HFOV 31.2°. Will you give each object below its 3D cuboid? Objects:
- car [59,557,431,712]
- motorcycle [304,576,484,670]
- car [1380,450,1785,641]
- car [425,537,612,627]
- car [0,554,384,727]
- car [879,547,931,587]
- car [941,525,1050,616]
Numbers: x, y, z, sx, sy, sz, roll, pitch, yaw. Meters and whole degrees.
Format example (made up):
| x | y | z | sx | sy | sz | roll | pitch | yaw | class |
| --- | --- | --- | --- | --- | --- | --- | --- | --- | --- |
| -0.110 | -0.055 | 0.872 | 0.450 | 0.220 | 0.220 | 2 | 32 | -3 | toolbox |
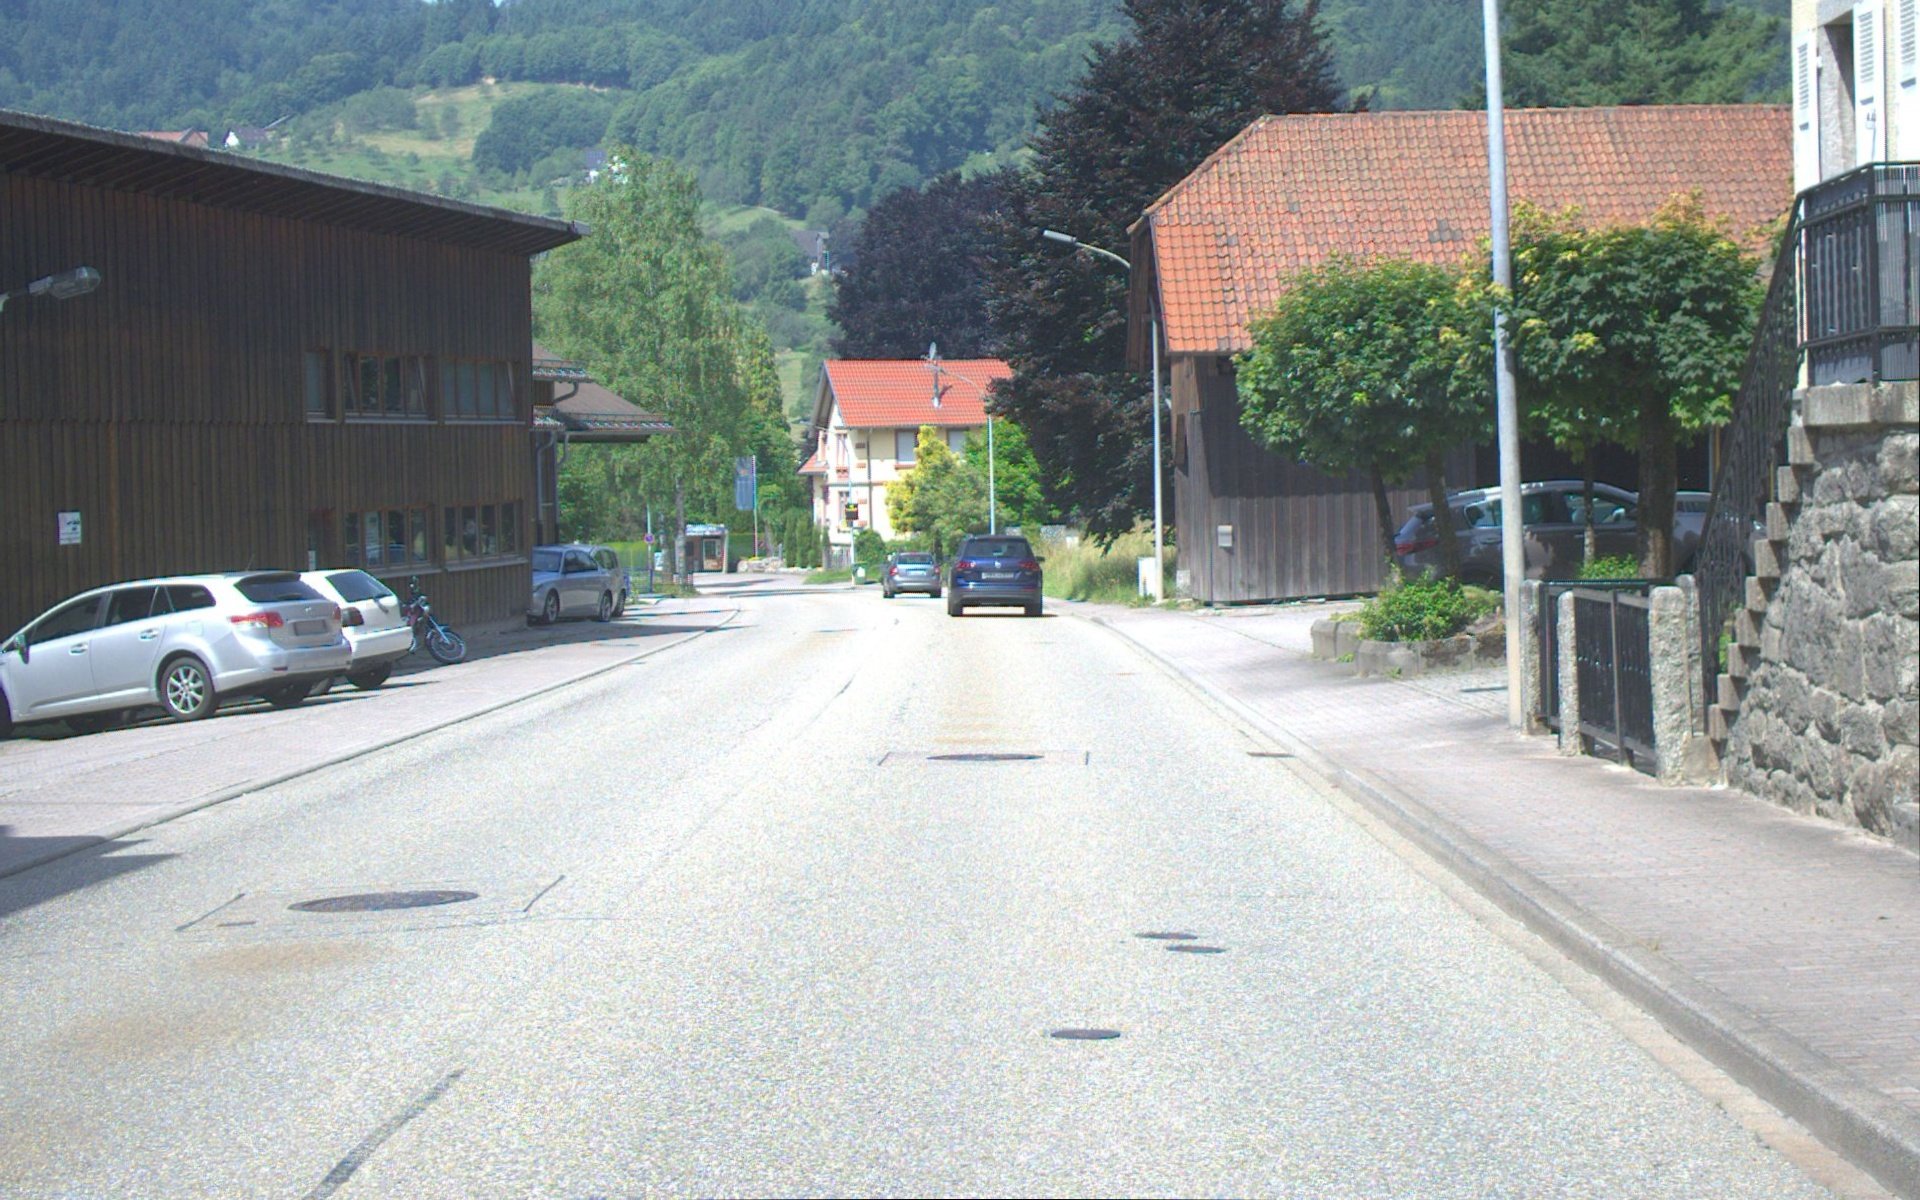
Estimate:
| x | y | z | sx | sy | sz | roll | pitch | yaw | class |
| --- | --- | --- | --- | --- | --- | --- | --- | --- | --- |
| -8.106 | 0.390 | 39.083 | 3.661 | 1.381 | 1.710 | -5 | 0 | 16 | car |
| -8.165 | 0.330 | 49.606 | 2.410 | 1.260 | 0.743 | -2 | 1 | 11 | motorcycle |
| 7.033 | -0.621 | 39.152 | 4.221 | 1.681 | 1.776 | -6 | 1 | 4 | car |
| -7.999 | -0.363 | 62.758 | 1.730 | 1.449 | 4.802 | -1 | 2 | 14 | car |
| -8.521 | 0.457 | 36.243 | 4.435 | 1.469 | 1.922 | -5 | 1 | 26 | car |
| -1.788 | -1.056 | 110.548 | 1.476 | 1.205 | 2.384 | -3 | 1 | -4 | car |
| 0.686 | -0.597 | 68.696 | 1.919 | 1.692 | 3.789 | -2 | 1 | -2 | car |
